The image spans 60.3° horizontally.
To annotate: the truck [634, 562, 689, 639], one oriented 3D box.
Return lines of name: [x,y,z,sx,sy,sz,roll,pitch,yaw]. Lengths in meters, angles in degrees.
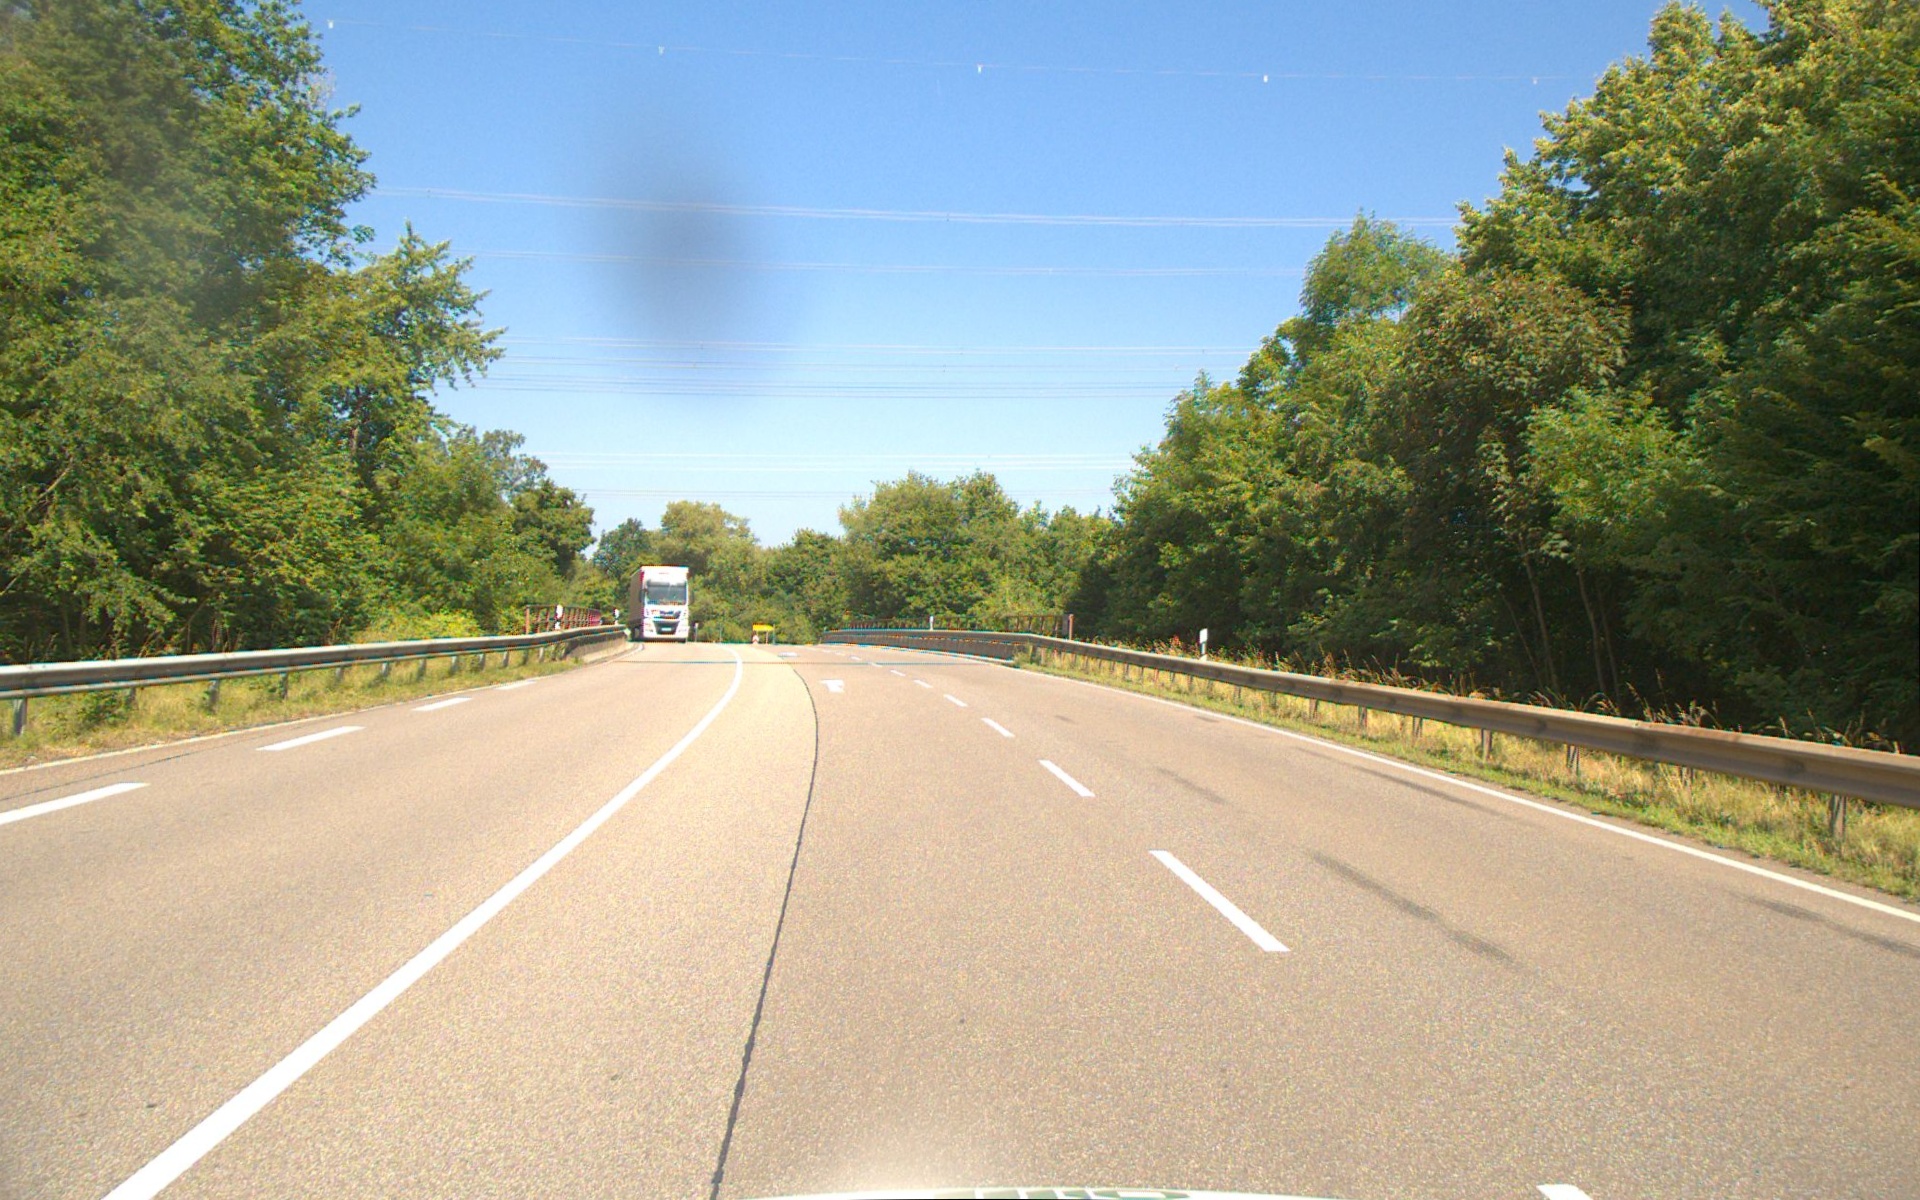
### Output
truck: [-16.471,0.068,91.138,2.721,4.105,5.836,0,-1,-13]

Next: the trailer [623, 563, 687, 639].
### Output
trailer: [-18.198,0.182,97.973,2.722,4.133,14.144,0,-1,-14]
